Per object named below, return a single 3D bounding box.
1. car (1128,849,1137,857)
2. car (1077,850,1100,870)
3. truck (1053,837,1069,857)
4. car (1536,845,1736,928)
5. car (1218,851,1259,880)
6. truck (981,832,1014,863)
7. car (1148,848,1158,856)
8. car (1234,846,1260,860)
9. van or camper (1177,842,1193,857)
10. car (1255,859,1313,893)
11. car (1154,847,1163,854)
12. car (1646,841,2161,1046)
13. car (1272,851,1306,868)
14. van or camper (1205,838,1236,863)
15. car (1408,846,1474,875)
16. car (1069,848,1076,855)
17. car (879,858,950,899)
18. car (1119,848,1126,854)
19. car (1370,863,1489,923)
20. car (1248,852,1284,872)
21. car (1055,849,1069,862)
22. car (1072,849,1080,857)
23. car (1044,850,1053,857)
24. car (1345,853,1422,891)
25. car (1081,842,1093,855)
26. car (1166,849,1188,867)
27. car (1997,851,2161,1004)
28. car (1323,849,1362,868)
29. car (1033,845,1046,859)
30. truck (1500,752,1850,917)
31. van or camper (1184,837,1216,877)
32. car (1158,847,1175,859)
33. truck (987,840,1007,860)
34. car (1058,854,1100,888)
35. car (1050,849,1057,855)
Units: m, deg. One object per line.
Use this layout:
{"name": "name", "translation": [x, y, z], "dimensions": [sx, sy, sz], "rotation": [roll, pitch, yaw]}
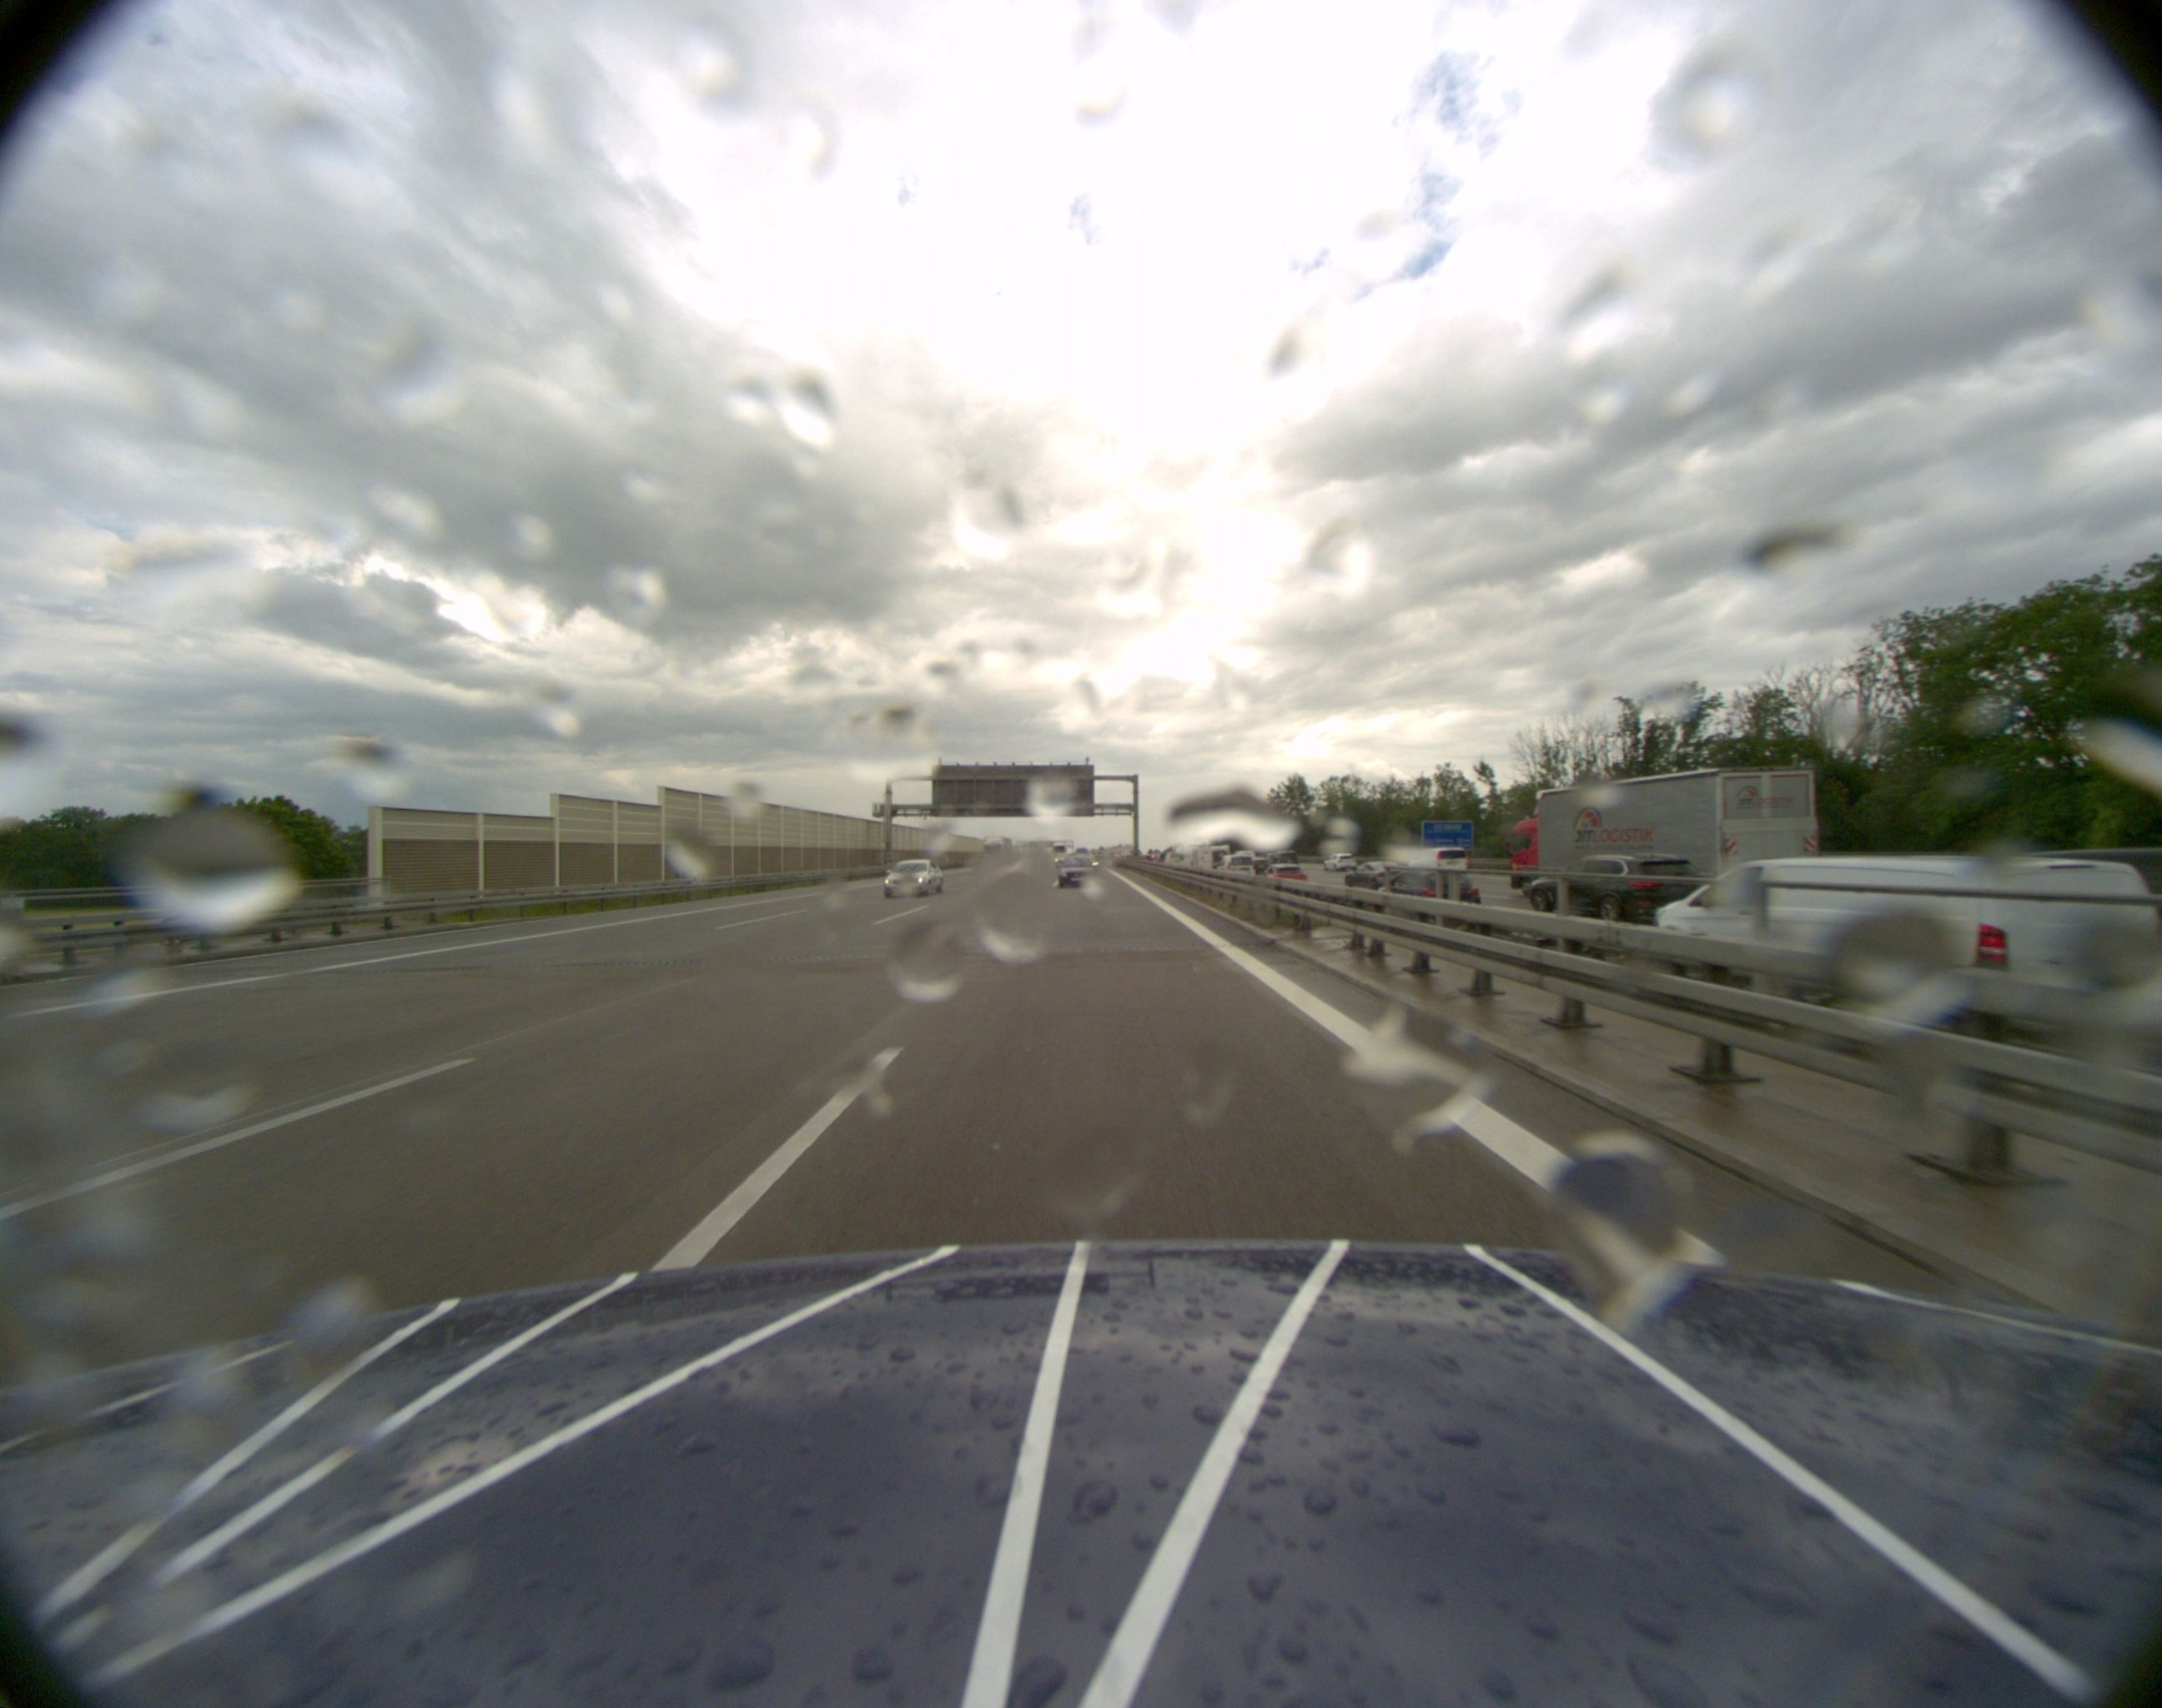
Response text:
{"name": "car", "translation": [10.298, -0.279, 152.243], "dimensions": [1.737, 1.565, 4.000], "rotation": [-1, 0, 1]}
{"name": "car", "translation": [0.616, 0.482, 61.713], "dimensions": [1.751, 1.489, 4.014], "rotation": [-2, 1, 1]}
{"name": "truck", "translation": [-4.109, -1.422, 156.687], "dimensions": [2.958, 3.777, 12.324], "rotation": [-2, 1, -2]}
{"name": "car", "translation": [13.995, 0.719, 19.584], "dimensions": [1.799, 1.846, 4.647], "rotation": [-1, 0, 1]}
{"name": "car", "translation": [10.501, 0.728, 50.924], "dimensions": [1.826, 1.831, 4.034], "rotation": [-1, 1, 0]}
{"name": "truck", "translation": [-11.295, -0.923, 104.376], "dimensions": [3.255, 3.884, 12.311], "rotation": [-2, 1, -1]}
{"name": "car", "translation": [14.892, -0.428, 157.797], "dimensions": [1.737, 1.565, 4.000], "rotation": [-1, 0, 1]}
{"name": "car", "translation": [18.593, -0.097, 85.274], "dimensions": [2.025, 1.504, 4.000], "rotation": [-1, 0, 1]}
{"name": "van or camper", "translation": [14.670, -0.662, 106.978], "dimensions": [1.737, 2.003, 4.000], "rotation": [-1, 1, 1]}
{"name": "car", "translation": [9.813, 1.016, 37.007], "dimensions": [1.757, 1.464, 4.034], "rotation": [-1, 0, 0]}
{"name": "car", "translation": [17.596, -0.707, 173.425], "dimensions": [1.737, 1.565, 4.000], "rotation": [-1, 0, 1]}
{"name": "car", "translation": [10.195, 0.858, 9.951], "dimensions": [1.858, 1.974, 5.037], "rotation": [-1, 0, 0]}
{"name": "car", "translation": [19.104, 0.480, 69.875], "dimensions": [2.025, 1.504, 4.000], "rotation": [-1, 0, 1]}
{"name": "van or camper", "translation": [15.063, -0.383, 82.488], "dimensions": [2.454, 2.563, 5.421], "rotation": [-1, 1, 1]}
{"name": "car", "translation": [22.124, 0.354, 46.907], "dimensions": [2.025, 1.691, 4.331], "rotation": [-1, 0, 1]}
{"name": "car", "translation": [-2.438, -0.756, 231.154], "dimensions": [1.998, 1.805, 4.000], "rotation": [-1, 1, 1]}
{"name": "car", "translation": [-6.783, 0.953, 31.368], "dimensions": [1.898, 1.438, 4.245], "rotation": [-2, 0, 1]}
{"name": "car", "translation": [10.016, -0.762, 184.686], "dimensions": [1.489, 1.467, 4.032], "rotation": [-1, 0, 1]}
{"name": "car", "translation": [9.978, 1.057, 22.101], "dimensions": [1.673, 1.497, 4.000], "rotation": [-1, 0, 1]}
{"name": "car", "translation": [15.318, 0.637, 63.148], "dimensions": [2.025, 1.504, 4.000], "rotation": [-1, 0, 1]}
{"name": "car", "translation": [-2.798, 0.142, 111.585], "dimensions": [1.961, 1.831, 3.999], "rotation": [-1, 1, 0]}
{"name": "car", "translation": [-1.165, -0.234, 180.449], "dimensions": [1.998, 1.805, 4.000], "rotation": [-1, 1, 1]}
{"name": "car", "translation": [-8.070, -0.149, 187.113], "dimensions": [1.884, 1.501, 4.213], "rotation": [-1, 0, 1]}
{"name": "car", "translation": [14.306, 0.805, 36.222], "dimensions": [1.932, 1.606, 4.421], "rotation": [-1, 0, 1]}
{"name": "car", "translation": [1.142, -1.062, 142.678], "dimensions": [1.998, 2.354, 4.172], "rotation": [-2, 1, 2]}
{"name": "car", "translation": [10.853, 0.426, 86.086], "dimensions": [1.998, 1.956, 4.000], "rotation": [-1, 1, 1]}
{"name": "car", "translation": [13.948, 0.896, 8.798], "dimensions": [1.709, 1.829, 4.114], "rotation": [-1, 1, 0]}
{"name": "car", "translation": [22.525, 0.359, 65.541], "dimensions": [2.025, 1.504, 4.000], "rotation": [-1, 0, 1]}
{"name": "car", "translation": [-7.833, -0.376, 144.490], "dimensions": [2.036, 2.588, 4.513], "rotation": [-1, 1, 2]}
{"name": "truck", "translation": [18.515, -0.552, 25.296], "dimensions": [3.266, 4.268, 10.868], "rotation": [-1, 0, 1]}
{"name": "van or camper", "translation": [10.460, 0.254, 67.061], "dimensions": [2.006, 3.382, 4.368], "rotation": [-1, 1, 0]}
{"name": "car", "translation": [10.822, -0.148, 96.551], "dimensions": [1.737, 1.565, 4.000], "rotation": [-1, 0, 1]}
{"name": "truck", "translation": [-13.140, -0.641, 118.860], "dimensions": [2.264, 3.050, 6.899], "rotation": [-1, 1, 1]}
{"name": "car", "translation": [-0.055, 0.742, 35.924], "dimensions": [1.781, 1.399, 5.016], "rotation": [-2, 0, 1]}
{"name": "car", "translation": [-8.627, -0.561, 235.739], "dimensions": [1.998, 1.805, 4.000], "rotation": [-1, 1, 1]}
